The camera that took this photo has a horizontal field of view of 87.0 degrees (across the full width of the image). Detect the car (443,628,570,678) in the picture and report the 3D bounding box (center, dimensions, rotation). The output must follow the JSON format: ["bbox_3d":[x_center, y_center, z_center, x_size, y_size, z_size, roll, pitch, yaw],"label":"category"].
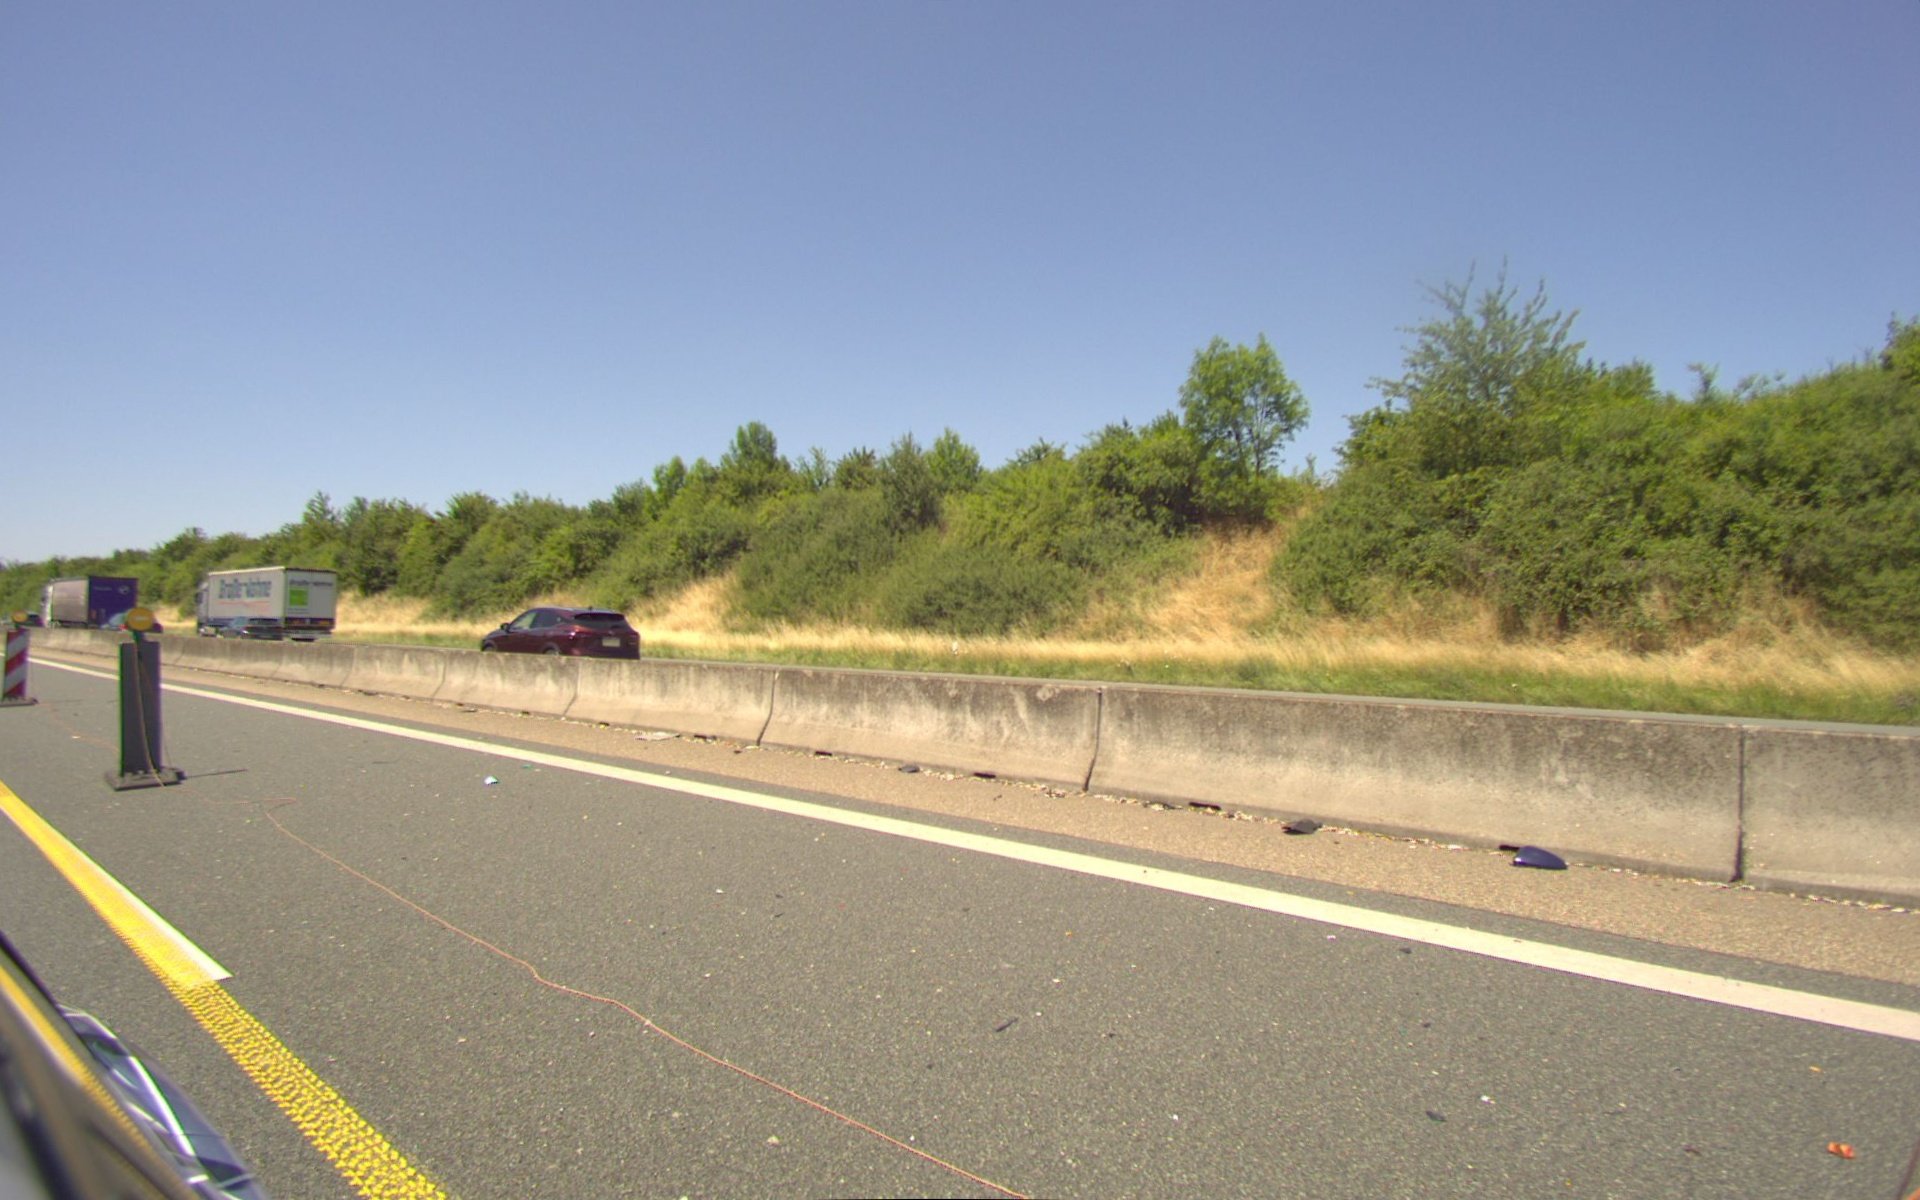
[{"bbox_3d":[-14.772,1.654,32.852,4.583,1.471,1.973,-1,-2,40],"label":"car"}]

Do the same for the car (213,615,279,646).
[{"bbox_3d":[-33.857,1.428,47.961,4.084,1.407,1.488,-1,-2,38],"label":"car"}]

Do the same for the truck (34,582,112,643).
[{"bbox_3d":[-65.458,0.927,74.640,7.409,4.257,3.132,-1,-1,40],"label":"truck"}]

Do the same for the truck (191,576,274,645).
[{"bbox_3d":[-45.495,0.693,63.233,5.192,4.108,2.916,-1,-2,40],"label":"truck"}]

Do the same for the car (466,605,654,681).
[{"bbox_3d":[-8.611,0.873,21.618,4.486,1.471,1.830,-1,-2,40],"label":"car"}]

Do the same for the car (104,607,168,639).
[{"bbox_3d":[-38.656,1.080,47.445,3.986,1.453,1.600,-1,-2,40],"label":"car"}]

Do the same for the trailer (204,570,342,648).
[{"bbox_3d":[-40.058,0.590,58.706,13.627,4.093,2.923,-1,-3,40],"label":"trailer"}]

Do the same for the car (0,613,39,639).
[{"bbox_3d":[-63.822,1.737,68.387,4.393,1.727,1.823,-1,-2,40],"label":"car"}]

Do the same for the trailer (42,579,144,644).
[{"bbox_3d":[-60.500,0.848,70.466,13.672,4.212,3.128,-1,-2,40],"label":"trailer"}]
